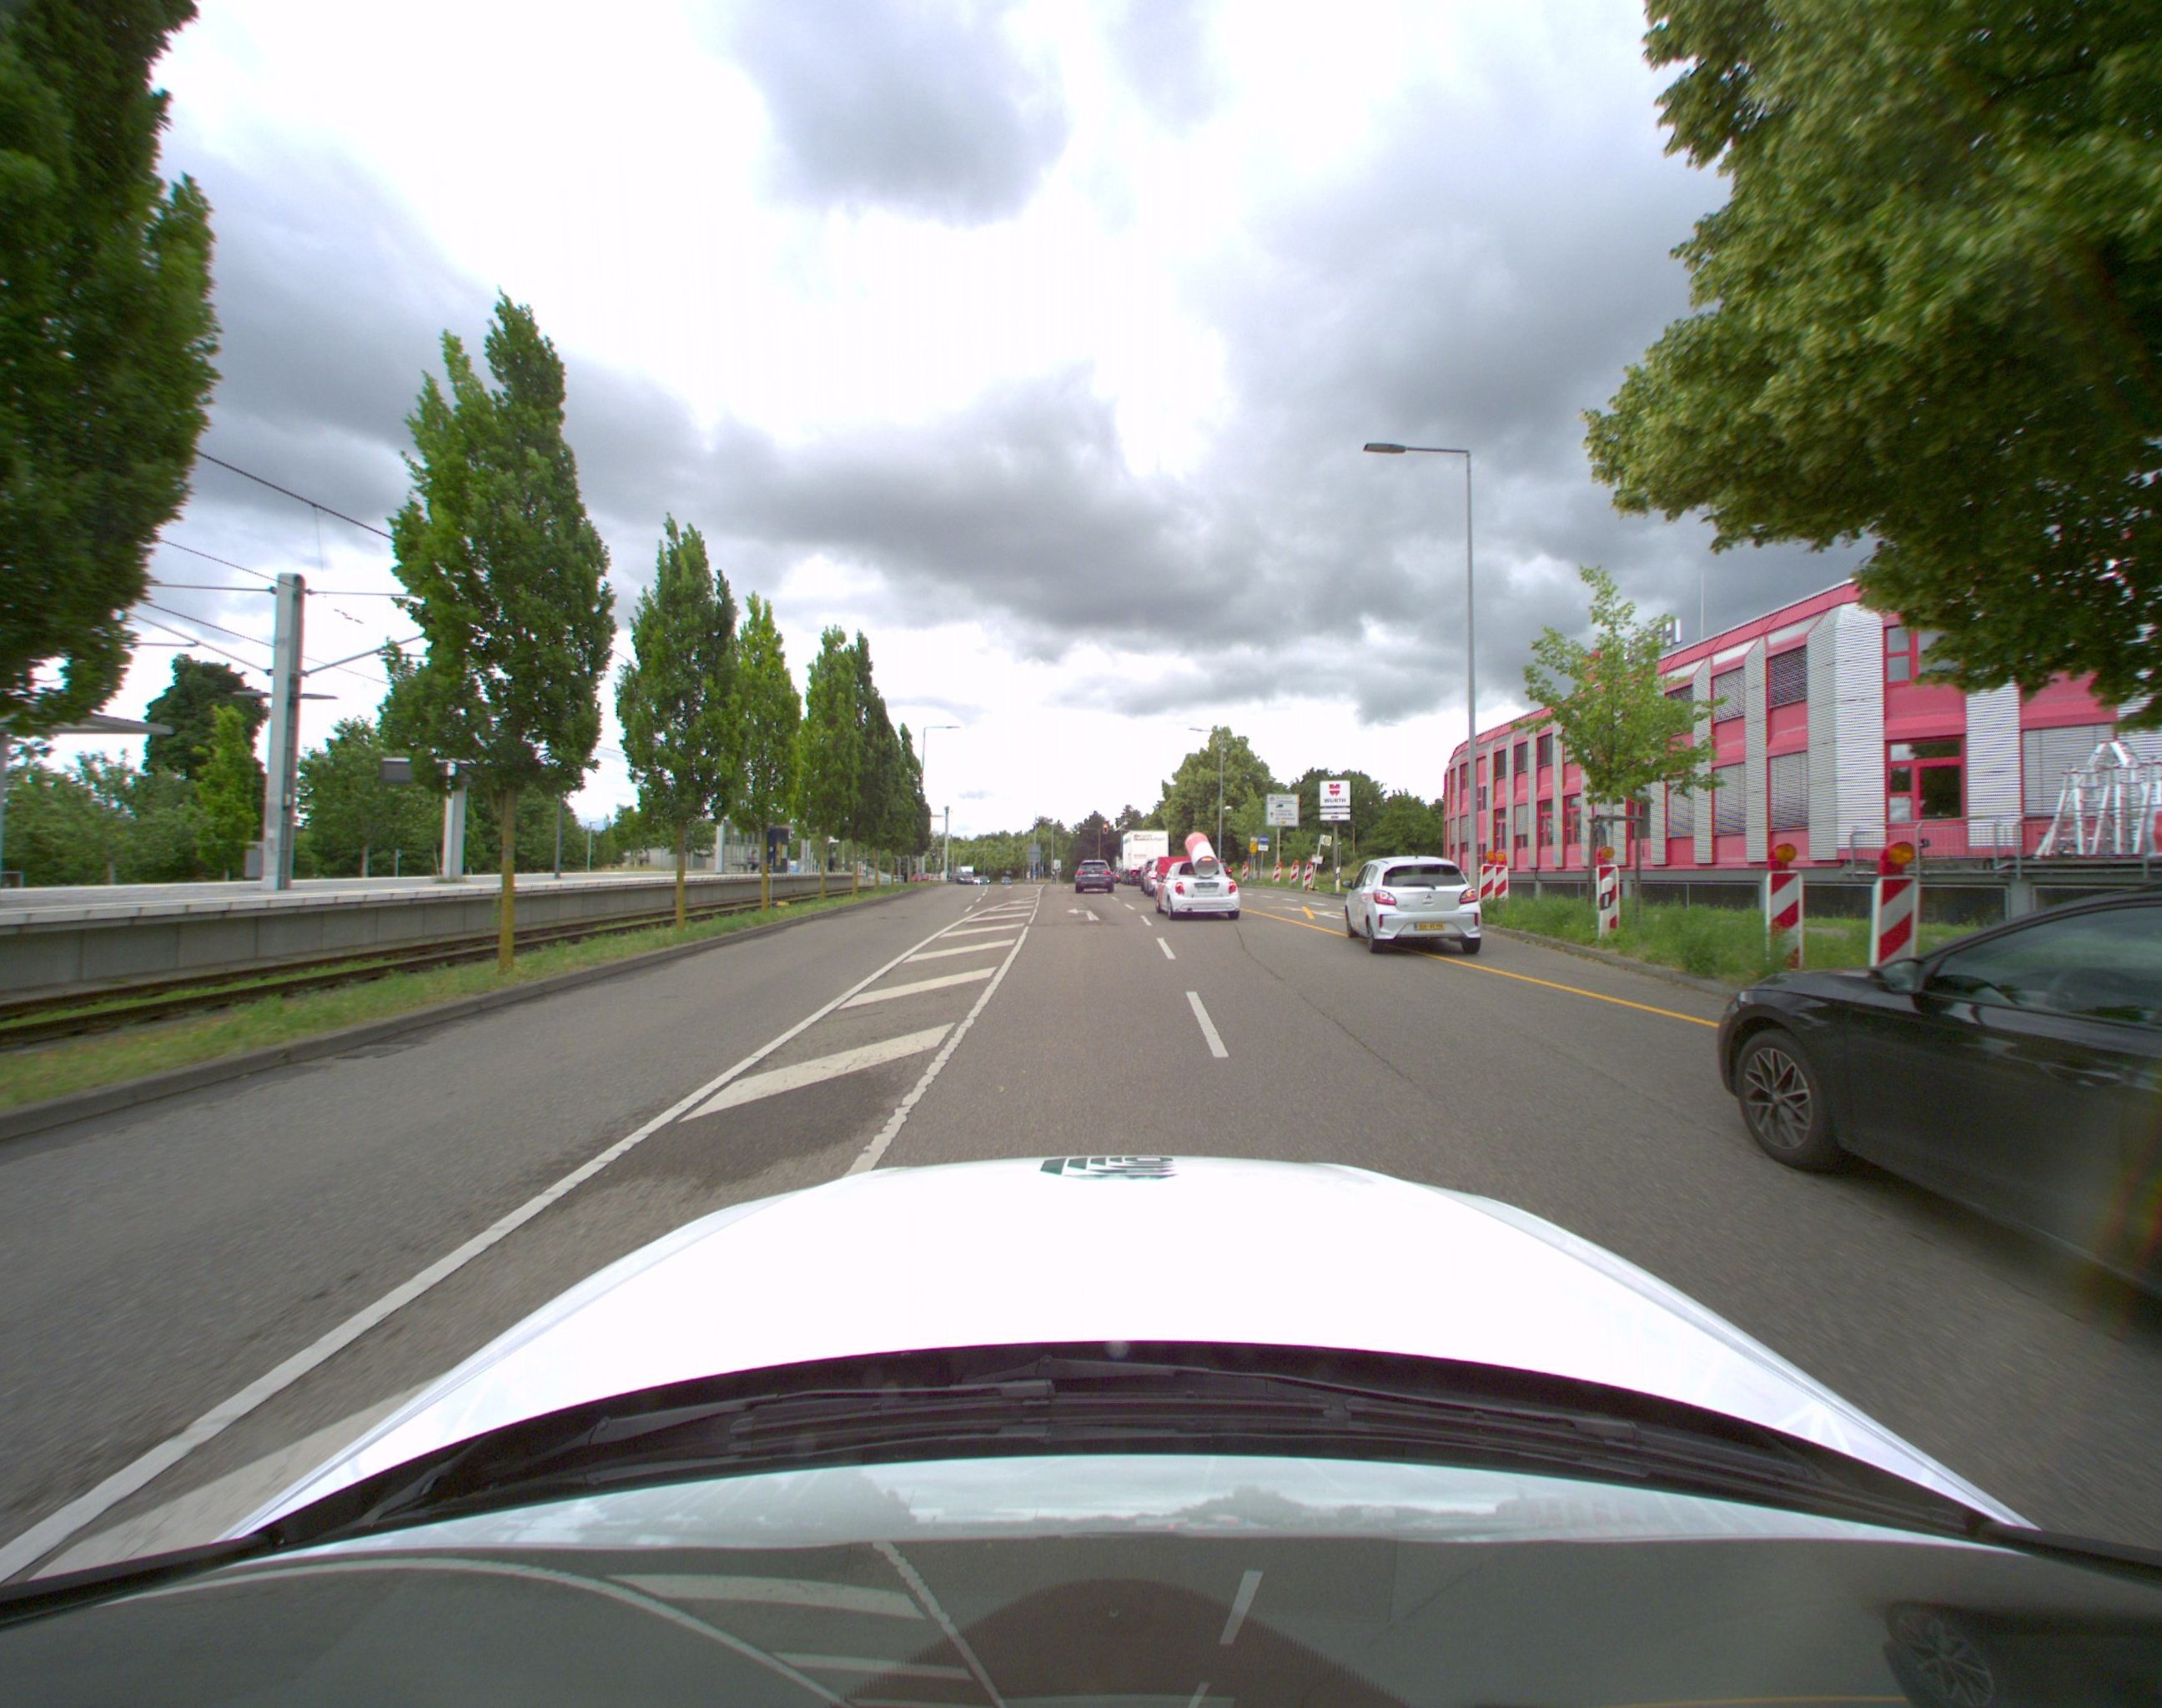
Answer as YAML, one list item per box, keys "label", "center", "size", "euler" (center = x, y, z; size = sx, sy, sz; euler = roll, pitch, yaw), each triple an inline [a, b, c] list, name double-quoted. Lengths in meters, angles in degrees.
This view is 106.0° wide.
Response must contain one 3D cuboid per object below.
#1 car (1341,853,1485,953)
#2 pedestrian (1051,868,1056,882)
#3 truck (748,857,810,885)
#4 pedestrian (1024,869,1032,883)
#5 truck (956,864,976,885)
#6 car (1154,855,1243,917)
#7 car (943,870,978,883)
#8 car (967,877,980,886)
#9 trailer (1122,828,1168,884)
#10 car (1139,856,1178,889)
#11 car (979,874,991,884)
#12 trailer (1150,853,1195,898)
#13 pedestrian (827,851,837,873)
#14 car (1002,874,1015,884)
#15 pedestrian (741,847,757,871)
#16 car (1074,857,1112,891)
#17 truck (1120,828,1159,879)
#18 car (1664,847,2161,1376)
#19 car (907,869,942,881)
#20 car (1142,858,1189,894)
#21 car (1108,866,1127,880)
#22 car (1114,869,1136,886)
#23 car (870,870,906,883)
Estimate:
- label: "car"
  center: [5.452, 0.713, 13.805]
  size: [1.612, 1.457, 3.700]
  euler: [0, 0, 11]
- label: "pedestrian"
  center: [-3.141, 2.383, 92.776]
  size: [0.585, 1.621, 0.423]
  euler: [-1, 1, -4]
- label: "truck"
  center: [-40.308, 2.191, 108.975]
  size: [7.212, 3.598, 2.693]
  euler: [0, 1, 2]
- label: "pedestrian"
  center: [-5.865, 2.425, 90.628]
  size: [0.862, 1.560, 0.517]
  euler: [-1, 1, -4]
- label: "truck"
  center: [-21.469, 3.697, 151.486]
  size: [2.664, 3.649, 9.455]
  euler: [1, 0, -15]
- label: "car"
  center: [2.936, 0.778, 21.058]
  size: [1.713, 1.457, 3.694]
  euler: [0, -1, -1]
- label: "car"
  center: [-14.179, 2.652, 95.669]
  size: [3.661, 1.574, 1.741]
  euler: [0, -2, 25]
- label: "car"
  center: [-18.758, 4.811, 142.793]
  size: [1.770, 1.508, 3.745]
  euler: [-3, 0, -1]
- label: "trailer"
  center: [4.474, 0.012, 58.078]
  size: [2.558, 3.705, 7.762]
  euler: [0, 1, -1]
- label: "car"
  center: [3.918, 0.905, 41.564]
  size: [1.836, 1.561, 4.409]
  euler: [-1, -1, 4]
- label: "car"
  center: [-17.696, 4.592, 149.866]
  size: [1.912, 1.728, 3.994]
  euler: [-2, 0, -4]
- label: "trailer"
  center: [3.400, 0.762, 30.666]
  size: [1.404, 1.594, 3.304]
  euler: [0, -1, 2]
- label: "pedestrian"
  center: [-21.232, 0.691, 69.436]
  size: [0.571, 1.828, 0.792]
  euler: [0, -2, -5]
- label: "car"
  center: [-12.821, 4.340, 143.850]
  size: [1.910, 1.576, 3.999]
  euler: [0, 1, -1]
- label: "pedestrian"
  center: [-17.657, 0.270, 43.341]
  size: [0.609, 1.269, 0.658]
  euler: [-1, 1, -7]
- label: "car"
  center: [0.544, 0.916, 38.921]
  size: [1.693, 1.486, 3.999]
  euler: [-2, 0, 0]
- label: "truck"
  center: [4.415, -0.070, 62.005]
  size: [2.563, 3.705, 4.105]
  euler: [0, 1, -1]
- label: "car"
  center: [3.946, 0.721, 2.395]
  size: [1.825, 1.432, 4.288]
  euler: [-2, 0, 8]
- label: "car"
  center: [-19.590, 2.619, 102.068]
  size: [4.037, 1.488, 1.717]
  euler: [-1, -2, 22]
- label: "car"
  center: [3.532, 0.896, 34.568]
  size: [1.665, 1.447, 4.491]
  euler: [0, -1, 2]
- label: "car"
  center: [3.711, 1.962, 82.464]
  size: [1.542, 1.404, 3.995]
  euler: [-1, -2, -3]
- label: "car"
  center: [3.844, 2.026, 71.477]
  size: [1.805, 1.354, 4.119]
  euler: [-2, 0, 1]
- label: "car"
  center: [-24.497, 2.815, 103.326]
  size: [3.966, 1.596, 2.004]
  euler: [0, 1, 7]
